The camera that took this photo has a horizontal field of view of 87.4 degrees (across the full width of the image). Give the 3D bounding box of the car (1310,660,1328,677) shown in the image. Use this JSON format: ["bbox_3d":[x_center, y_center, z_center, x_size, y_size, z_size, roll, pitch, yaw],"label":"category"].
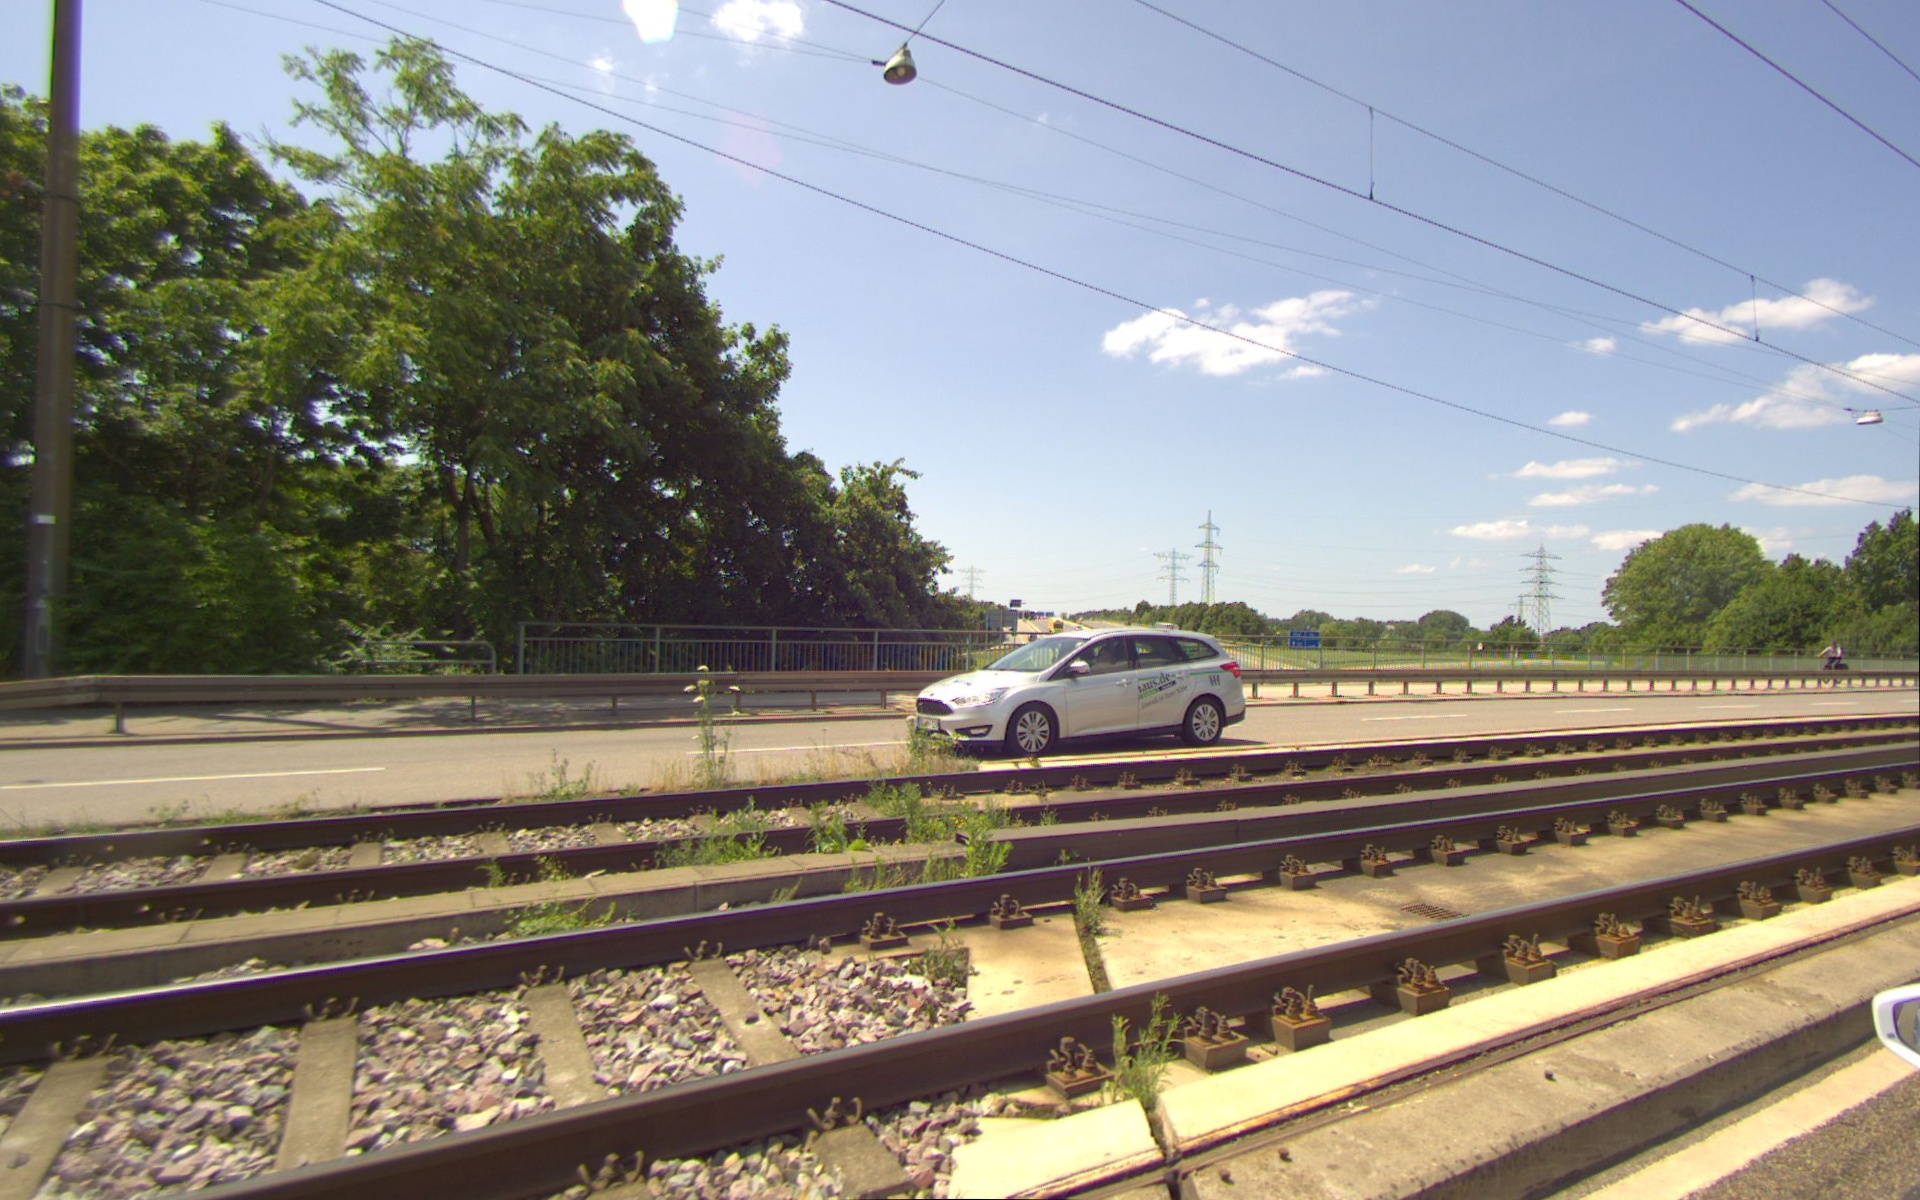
[{"bbox_3d":[52.776,10.085,147.745,1.832,2.041,4.001,4,3,11],"label":"car"}]

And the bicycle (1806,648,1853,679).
[{"bbox_3d":[35.788,2.593,41.326,2.038,1.201,0.852,2,0,-31],"label":"bicycle"}]

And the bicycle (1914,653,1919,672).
[{"bbox_3d":[44.773,2.900,46.397,2.013,0.854,0.519,1,1,-32],"label":"bicycle"}]

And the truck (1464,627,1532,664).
[{"bbox_3d":[97.600,8.231,182.354,10.615,5.714,3.289,4,3,28],"label":"truck"}]

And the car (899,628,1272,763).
[{"bbox_3d":[1.654,1.121,12.635,4.569,1.438,1.703,2,-2,-30],"label":"car"}]

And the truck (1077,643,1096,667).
[{"bbox_3d":[20.313,8.798,161.659,2.693,3.268,13.735,2,0,6],"label":"truck"}]

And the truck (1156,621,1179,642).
[{"bbox_3d":[43.179,6.476,209.072,3.590,3.756,8.202,2,2,4],"label":"truck"}]

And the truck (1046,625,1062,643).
[{"bbox_3d":[22.516,8.169,241.643,2.588,3.811,16.556,2,0,1],"label":"truck"}]

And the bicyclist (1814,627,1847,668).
[{"bbox_3d":[35.854,1.960,41.364,0.828,1.643,0.759,2,0,-30],"label":"bicyclist"}]

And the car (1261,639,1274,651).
[{"bbox_3d":[53.848,7.855,175.858,1.705,1.665,4.001,4,3,10],"label":"car"}]

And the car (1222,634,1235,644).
[{"bbox_3d":[54.702,7.948,204.621,1.706,1.665,3.999,3,3,1],"label":"car"}]
